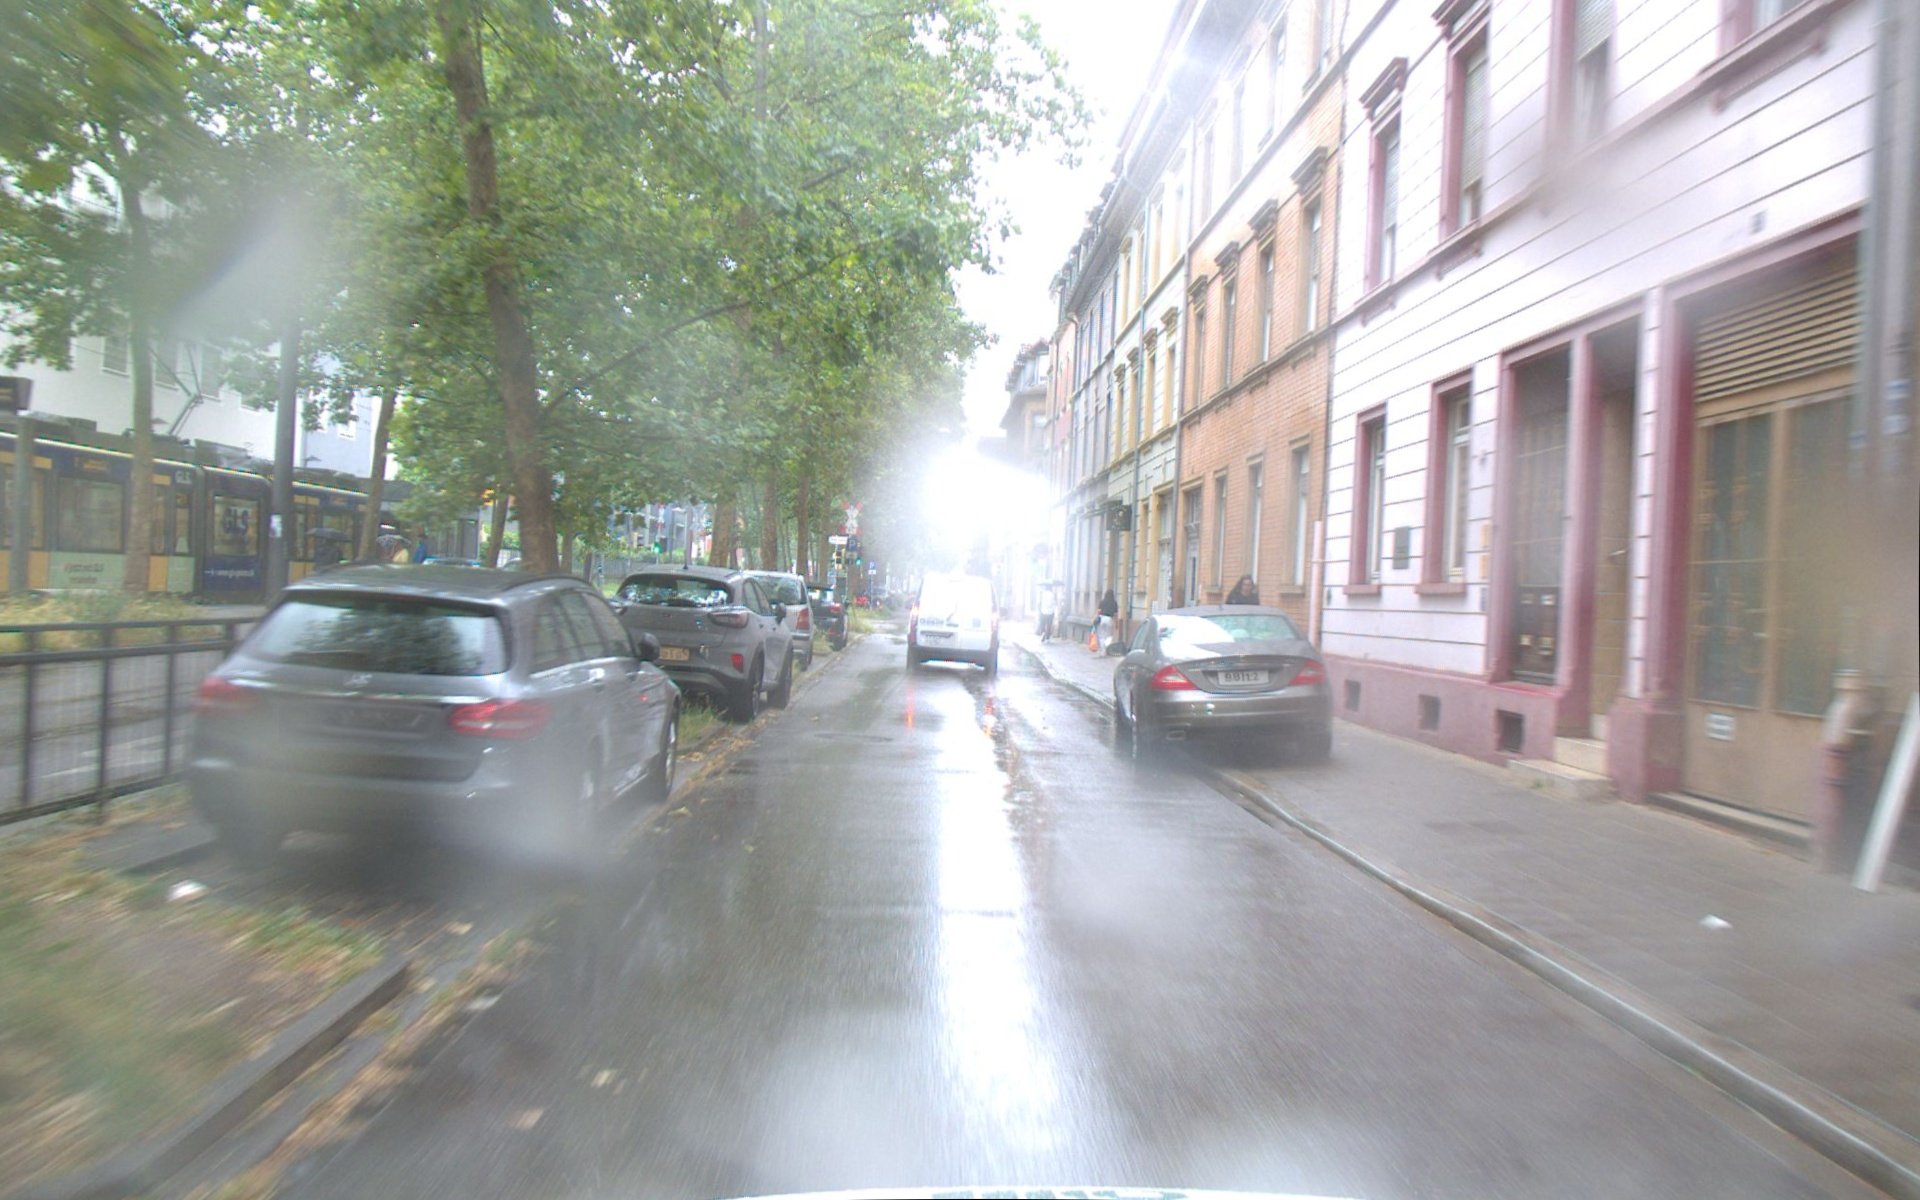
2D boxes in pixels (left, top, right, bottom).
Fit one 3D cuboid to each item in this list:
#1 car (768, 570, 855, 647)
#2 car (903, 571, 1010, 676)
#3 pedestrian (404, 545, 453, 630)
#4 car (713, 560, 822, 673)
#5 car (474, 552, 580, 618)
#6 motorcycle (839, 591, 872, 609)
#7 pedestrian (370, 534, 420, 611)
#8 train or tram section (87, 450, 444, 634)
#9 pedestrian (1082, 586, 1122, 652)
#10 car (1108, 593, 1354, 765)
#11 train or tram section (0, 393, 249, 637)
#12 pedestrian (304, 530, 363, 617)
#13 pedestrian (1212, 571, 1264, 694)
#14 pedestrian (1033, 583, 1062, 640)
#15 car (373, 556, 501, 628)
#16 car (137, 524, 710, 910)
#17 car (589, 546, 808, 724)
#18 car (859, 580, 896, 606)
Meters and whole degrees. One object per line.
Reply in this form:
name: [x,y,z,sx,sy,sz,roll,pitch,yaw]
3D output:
car: [-3.308,0.183,37.543,1.616,1.526,4.118,4,0,-2]
car: [-0.096,0.463,32.369,1.865,1.828,4.112,3,-1,-1]
pedestrian: [-13.195,-0.321,41.086,0.851,2.048,0.821,3,0,2]
car: [-3.229,0.223,28.257,1.592,1.711,3.657,4,1,-4]
car: [-12.003,-0.414,46.087,1.954,1.641,3.998,3,0,-2]
motorcycle: [-5.630,0.016,89.475,1.670,0.880,0.577,3,0,3]
pedestrian: [-13.135,-0.636,38.483,0.801,1.733,0.872,3,0,-3]
train or tram section: [-16.436,-1.044,41.055,3.043,3.620,14.667,2,-1,-2]
pedestrian: [3.383,0.440,39.516,0.823,1.538,1.107,0,0,-1]
car: [2.536,0.674,16.533,1.776,1.445,4.697,-1,0,1]
train or tram section: [-15.897,-1.292,26.523,3.043,3.620,14.570,2,-1,-2]
pedestrian: [-12.854,-0.544,33.959,0.801,1.733,0.872,3,0,-3]
pedestrian: [3.941,0.453,23.469,0.626,1.714,0.603,0,0,-3]
pedestrian: [2.700,0.345,51.094,0.823,1.746,1.107,-1,0,-1]
car: [-11.661,-0.186,37.122,1.704,1.366,3.754,6,0,-2]
car: [-2.622,0.501,9.344,1.792,1.529,4.611,4,0,-2]
car: [-2.753,0.339,18.344,1.664,1.664,4.354,2,0,0]
car: [-4.875,-0.418,98.395,1.953,1.411,4.000,3,0,0]
